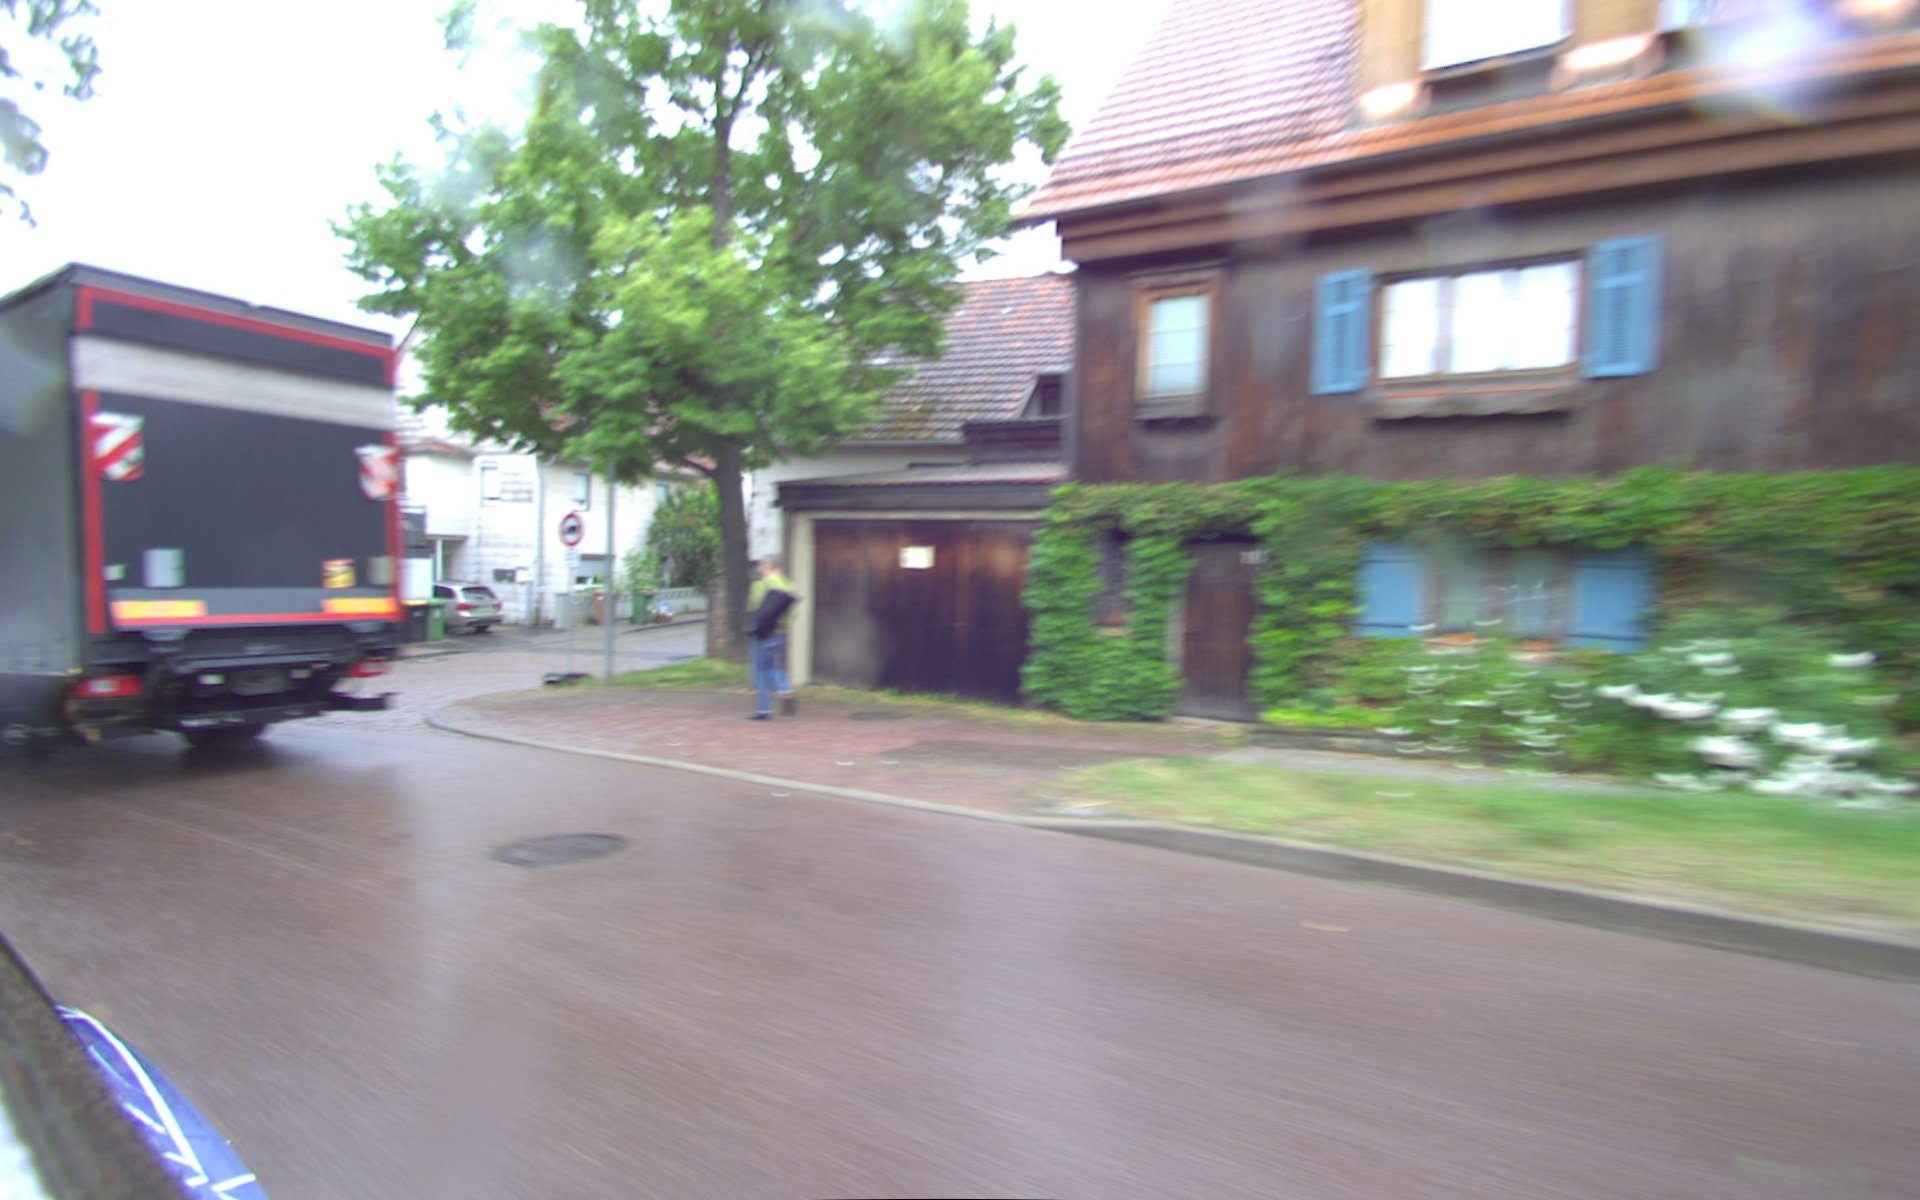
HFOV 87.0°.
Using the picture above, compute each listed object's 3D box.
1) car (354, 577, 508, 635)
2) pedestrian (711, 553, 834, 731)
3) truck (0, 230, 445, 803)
[{"bbox_3d":[-15.084,0.176,28.886,3.972,1.544,1.715,-1,0,22],"label":"car"},{"bbox_3d":[-2.060,0.431,11.152,0.894,1.844,0.958,-1,0,40],"label":"pedestrian"},{"bbox_3d":[-10.049,-0.517,10.948,10.390,3.997,2.828,-1,0,31],"label":"truck"}]
